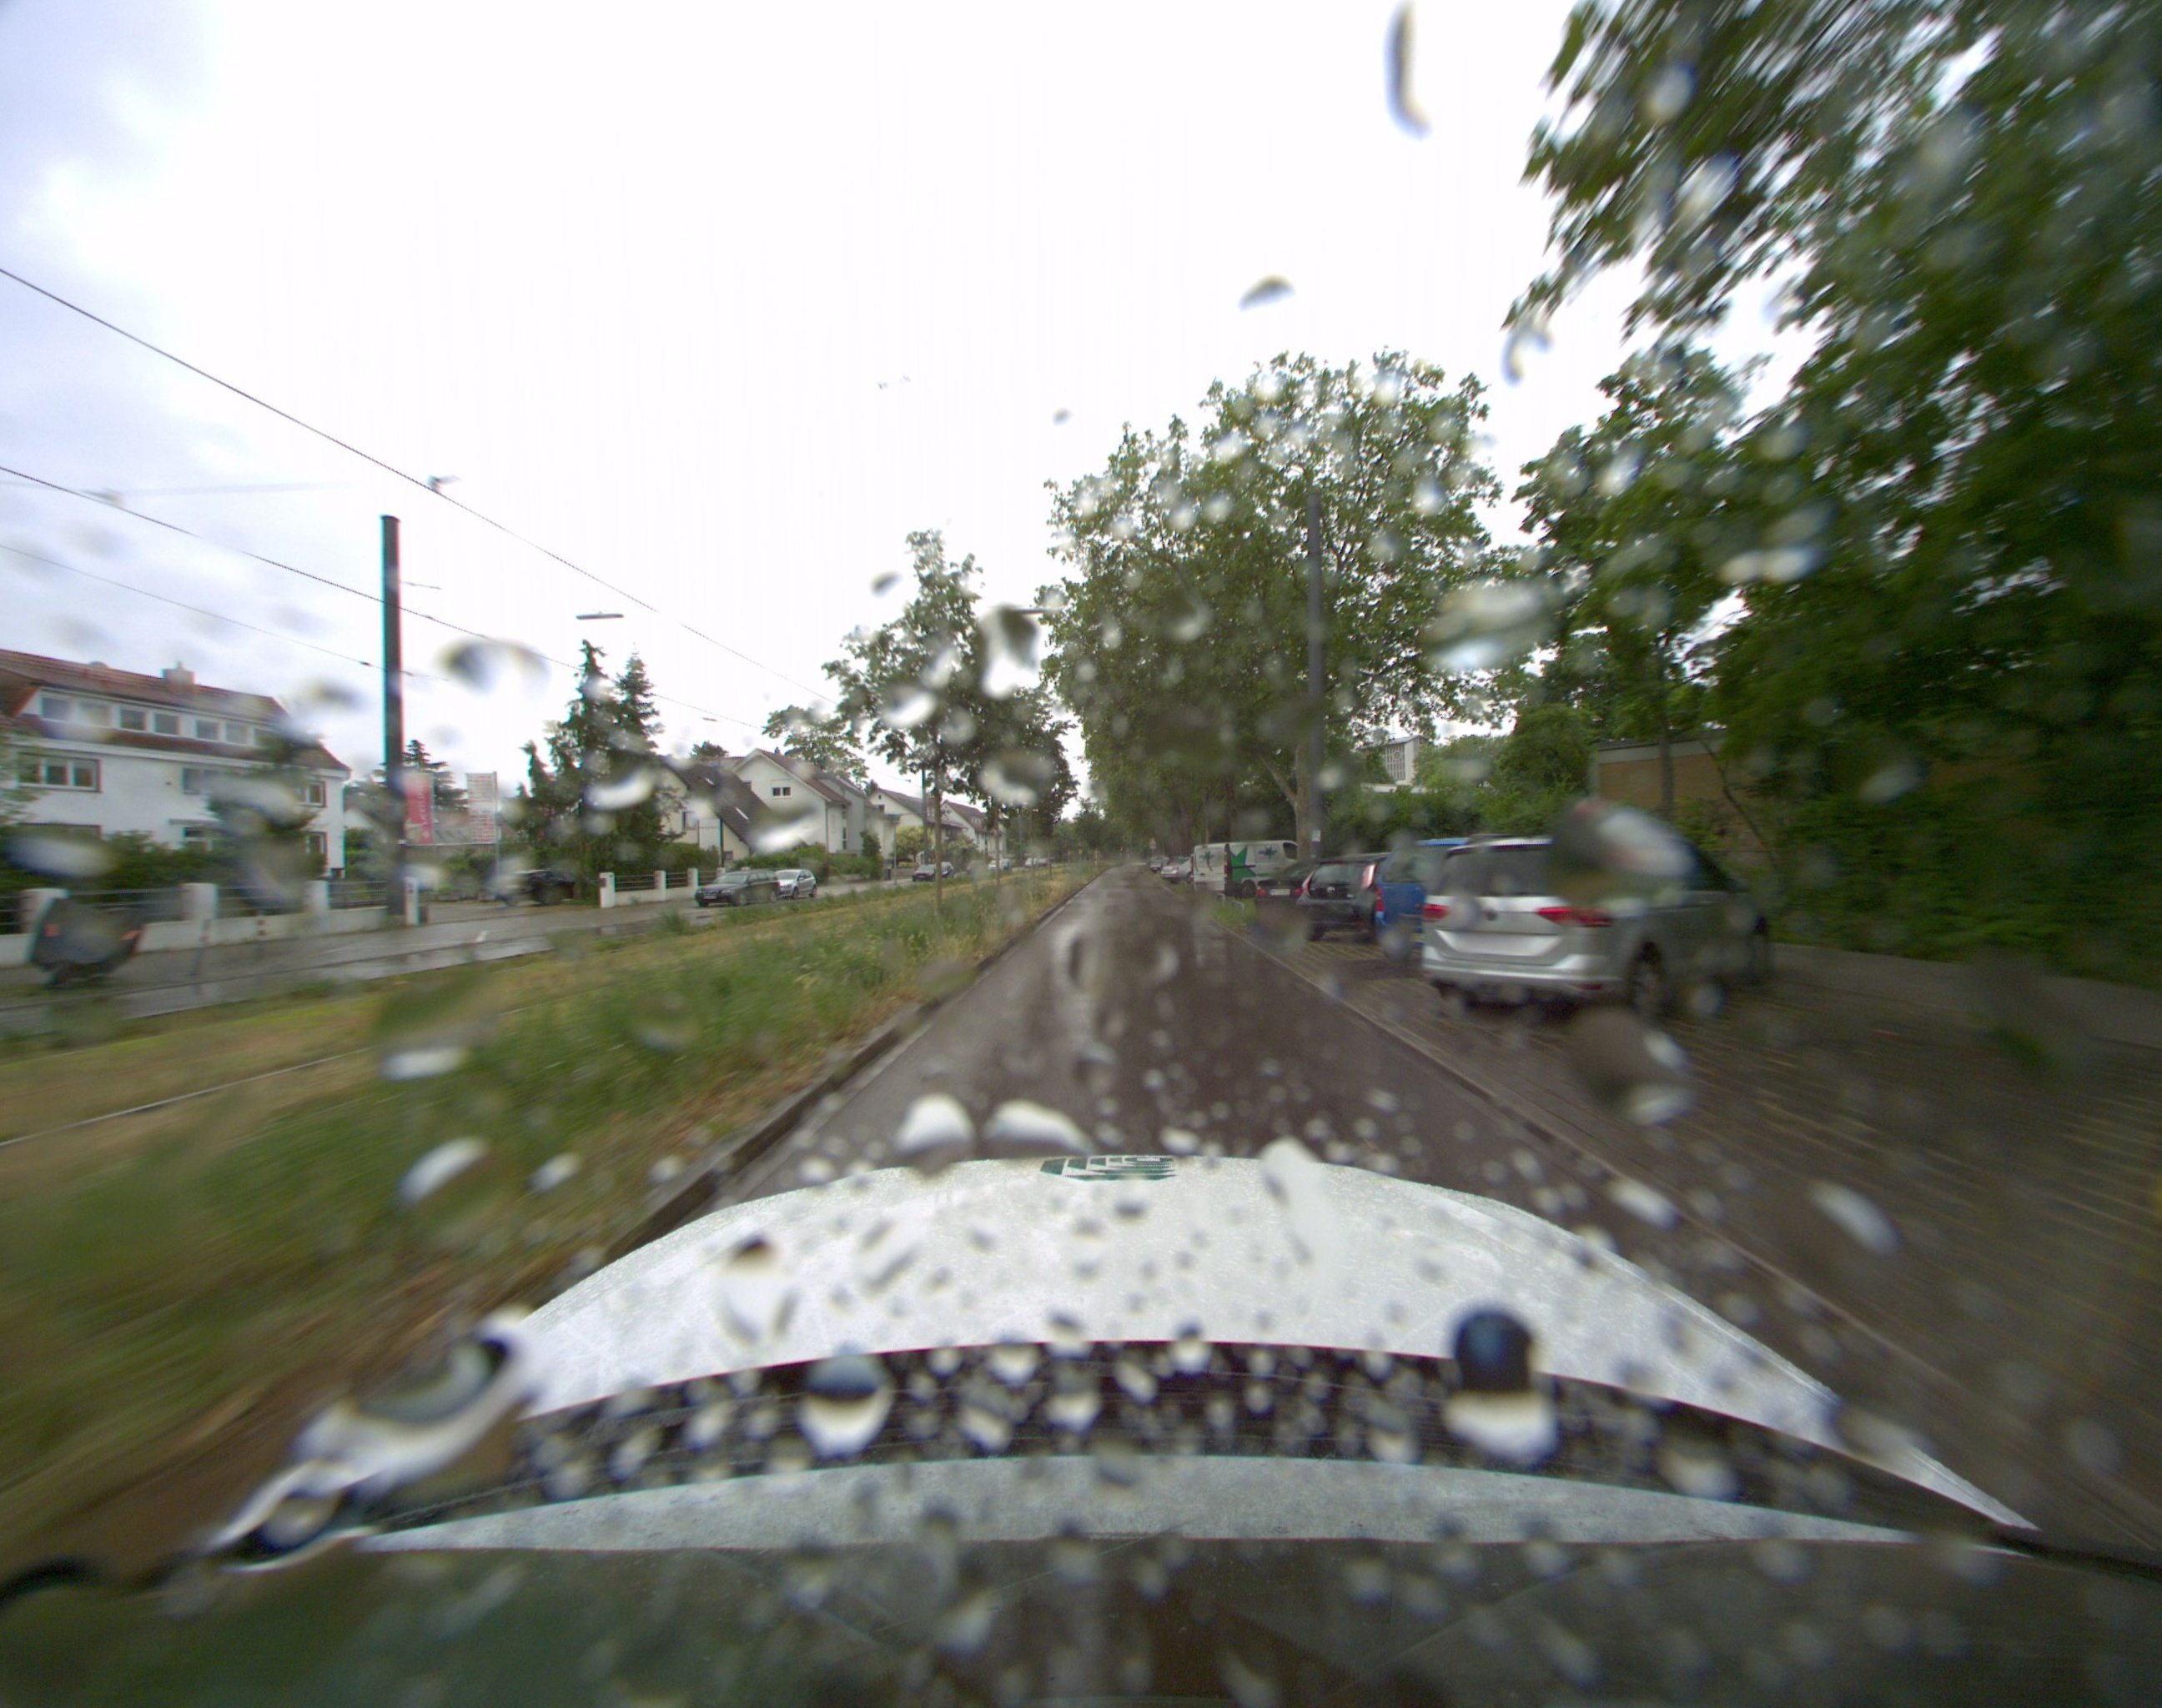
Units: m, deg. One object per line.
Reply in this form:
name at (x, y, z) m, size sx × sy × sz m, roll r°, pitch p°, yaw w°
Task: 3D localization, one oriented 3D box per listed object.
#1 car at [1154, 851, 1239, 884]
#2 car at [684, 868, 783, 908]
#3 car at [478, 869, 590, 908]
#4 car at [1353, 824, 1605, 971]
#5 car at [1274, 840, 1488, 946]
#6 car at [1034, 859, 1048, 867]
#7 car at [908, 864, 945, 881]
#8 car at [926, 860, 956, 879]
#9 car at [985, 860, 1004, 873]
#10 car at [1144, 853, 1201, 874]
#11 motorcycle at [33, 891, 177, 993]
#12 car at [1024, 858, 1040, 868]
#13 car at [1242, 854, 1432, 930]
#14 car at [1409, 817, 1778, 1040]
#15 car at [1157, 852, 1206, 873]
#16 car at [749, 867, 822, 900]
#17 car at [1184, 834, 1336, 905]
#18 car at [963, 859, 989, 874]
car at (6.607, 0.750, 46.525) m, size 4.575 × 1.544 × 1.870 m, roll -5°, pitch 1°, yaw -30°
car at (-14.586, 1.390, 34.514) m, size 1.984 × 1.455 × 4.536 m, roll 0°, pitch 0°, yaw 4°
car at (-22.987, 1.409, 34.412) m, size 1.986 × 1.455 × 3.921 m, roll 0°, pitch 0°, yaw 2°
car at (5.561, 0.517, 11.321) m, size 3.287 × 1.671 × 1.577 m, roll -3°, pitch -1°, yaw -32°
car at (5.276, 0.620, 14.240) m, size 3.419 × 1.518 × 1.830 m, roll -3°, pitch -1°, yaw -35°
car at (-7.175, 1.604, 147.078) m, size 1.984 × 1.488 × 4.210 m, roll 0°, pitch 0°, yaw 4°
car at (-12.977, 1.533, 68.694) m, size 1.984 × 1.350 × 4.245 m, roll 0°, pitch 0°, yaw 4°
car at (-12.632, 1.382, 73.749) m, size 1.866 × 1.550 × 3.873 m, roll 0°, pitch 0°, yaw 3°
car at (-10.889, 1.580, 102.682) m, size 1.788 × 1.488 × 3.601 m, roll 0°, pitch 0°, yaw 4°
car at (8.103, 0.837, 71.946) m, size 4.794 × 1.668 × 1.974 m, roll -2°, pitch 0°, yaw -34°
motorcycle at (-15.744, 1.347, 13.239) m, size 2.654 × 1.411 × 1.274 m, roll -1°, pitch -2°, yaw 44°
car at (-8.003, 1.398, 133.080) m, size 1.984 × 1.581 × 4.522 m, roll 0°, pitch 0°, yaw 4°
car at (5.597, 0.732, 17.548) m, size 4.326 × 1.384 × 1.721 m, roll -1°, pitch 0°, yaw -38°
car at (5.161, 0.526, 8.008) m, size 4.066 × 1.641 × 1.636 m, roll -2°, pitch 0°, yaw -36°
car at (8.138, 0.683, 65.959) m, size 3.726 × 1.566 × 1.603 m, roll -2°, pitch 0°, yaw -30°
car at (-14.471, 1.417, 40.106) m, size 1.986 × 1.411 × 3.974 m, roll 0°, pitch 0°, yaw 2°
car at (6.122, 0.460, 27.581) m, size 5.049 × 2.013 × 1.979 m, roll -3°, pitch 1°, yaw -33°
car at (-11.683, 1.383, 90.893) m, size 1.984 × 1.516 × 4.210 m, roll 0°, pitch 0°, yaw 4°
